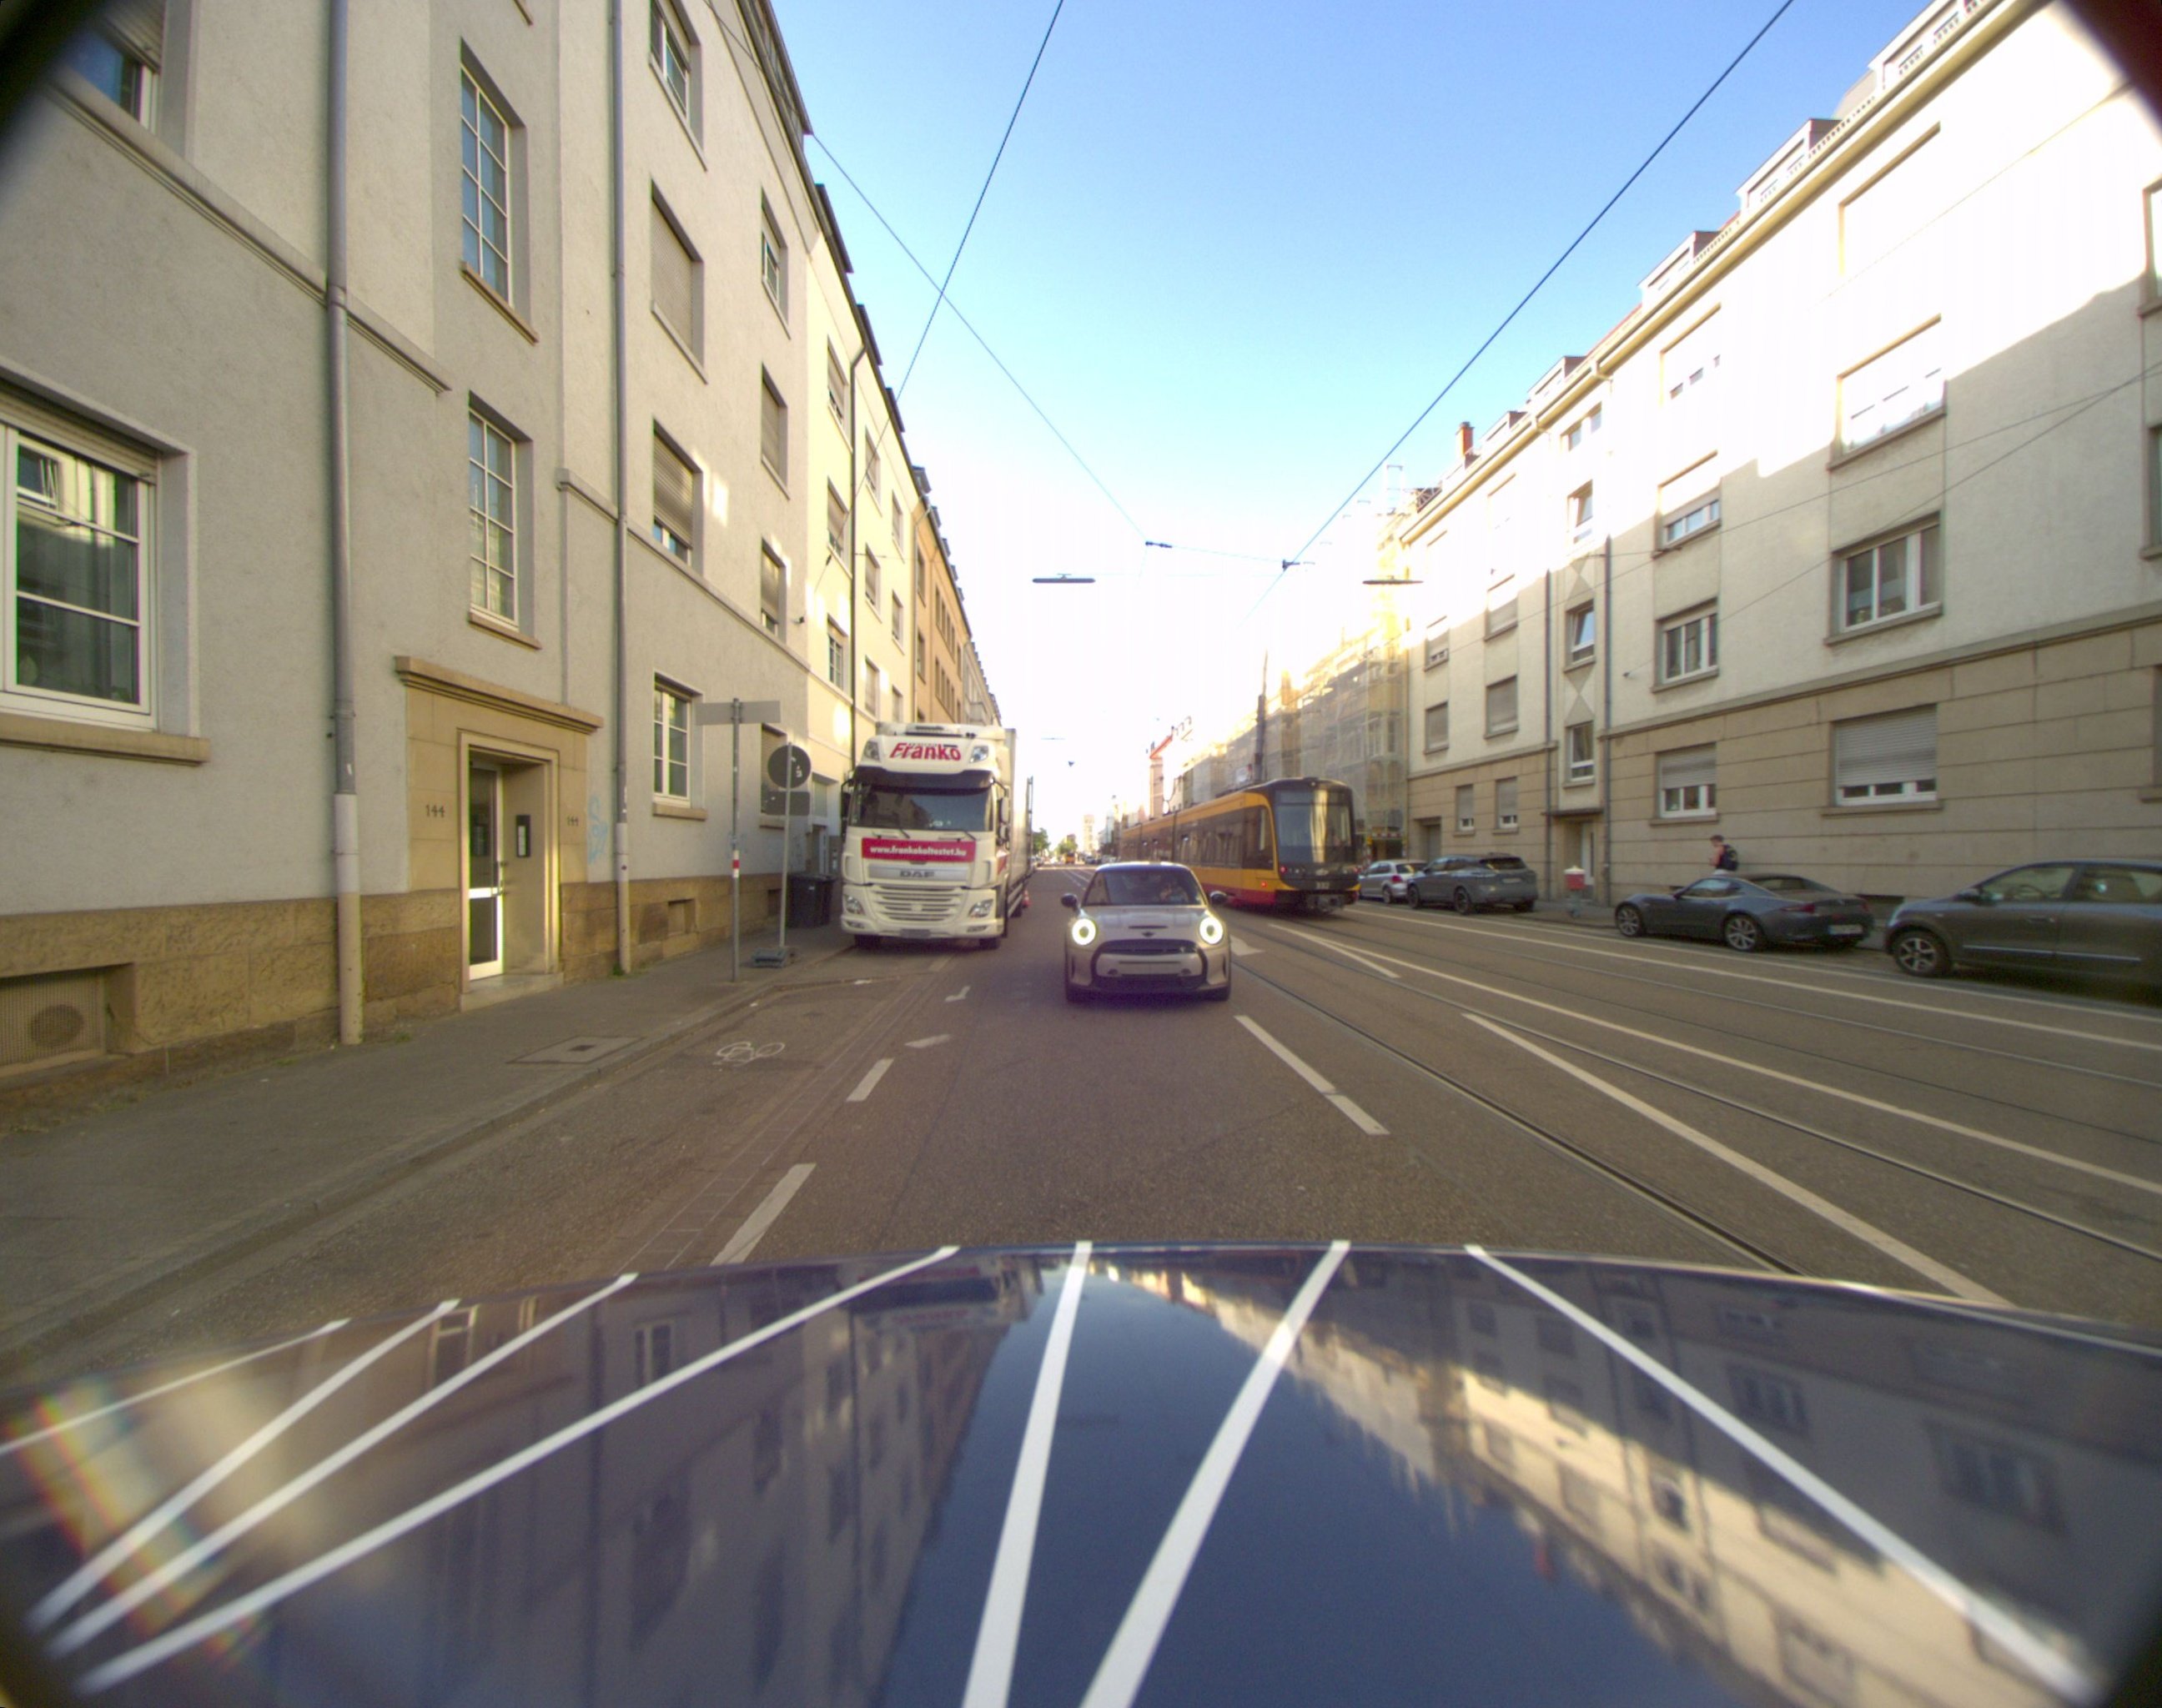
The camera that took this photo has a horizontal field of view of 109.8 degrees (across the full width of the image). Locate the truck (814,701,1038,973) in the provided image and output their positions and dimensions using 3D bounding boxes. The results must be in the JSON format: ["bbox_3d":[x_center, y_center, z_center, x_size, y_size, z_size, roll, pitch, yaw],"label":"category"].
[{"bbox_3d":[-2.620,-0.251,17.163,2.899,3.939,11.704,-2,0,-2],"label":"truck"}]

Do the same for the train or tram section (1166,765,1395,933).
[{"bbox_3d":[5.226,-0.179,23.938,2.752,3.611,14.259,-2,1,-3],"label":"train or tram section"}]

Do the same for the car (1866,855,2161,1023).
[{"bbox_3d":[11.398,0.838,8.436,1.670,1.563,3.496,-2,1,-2],"label":"car"}]

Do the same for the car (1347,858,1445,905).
[{"bbox_3d":[10.624,0.868,25.926,1.637,1.383,3.643,-2,1,-3],"label":"car"}]

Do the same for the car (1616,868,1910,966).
[{"bbox_3d":[11.278,0.956,12.921,1.751,1.269,3.488,-2,1,-4],"label":"car"}]

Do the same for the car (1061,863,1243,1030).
[{"bbox_3d":[0.658,0.889,9.066,1.692,1.495,4.000,0,0,0],"label":"car"}]

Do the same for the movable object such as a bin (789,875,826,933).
[{"bbox_3d":[-5.391,0.976,15.000,0.512,1.085,0.495,-2,1,-4],"label":"movable object such as a bin"}]

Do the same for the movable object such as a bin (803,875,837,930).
[{"bbox_3d":[-5.346,0.984,15.593,0.512,1.085,0.495,-2,1,-4],"label":"movable object such as a bin"}]

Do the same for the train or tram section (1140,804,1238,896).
[{"bbox_3d":[4.735,-0.187,35.356,2.833,3.610,9.081,-2,1,-2],"label":"train or tram section"}]

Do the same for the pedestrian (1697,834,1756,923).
[{"bbox_3d":[13.599,0.498,16.021,0.600,1.822,0.733,-2,1,-1],"label":"pedestrian"}]

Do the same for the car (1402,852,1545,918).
[{"bbox_3d":[10.821,0.785,21.325,1.712,1.582,4.112,-2,1,-3],"label":"car"}]

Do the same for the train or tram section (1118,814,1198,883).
[{"bbox_3d":[4.341,-0.317,46.268,3.070,3.573,12.626,1,0,-2],"label":"train or tram section"}]
